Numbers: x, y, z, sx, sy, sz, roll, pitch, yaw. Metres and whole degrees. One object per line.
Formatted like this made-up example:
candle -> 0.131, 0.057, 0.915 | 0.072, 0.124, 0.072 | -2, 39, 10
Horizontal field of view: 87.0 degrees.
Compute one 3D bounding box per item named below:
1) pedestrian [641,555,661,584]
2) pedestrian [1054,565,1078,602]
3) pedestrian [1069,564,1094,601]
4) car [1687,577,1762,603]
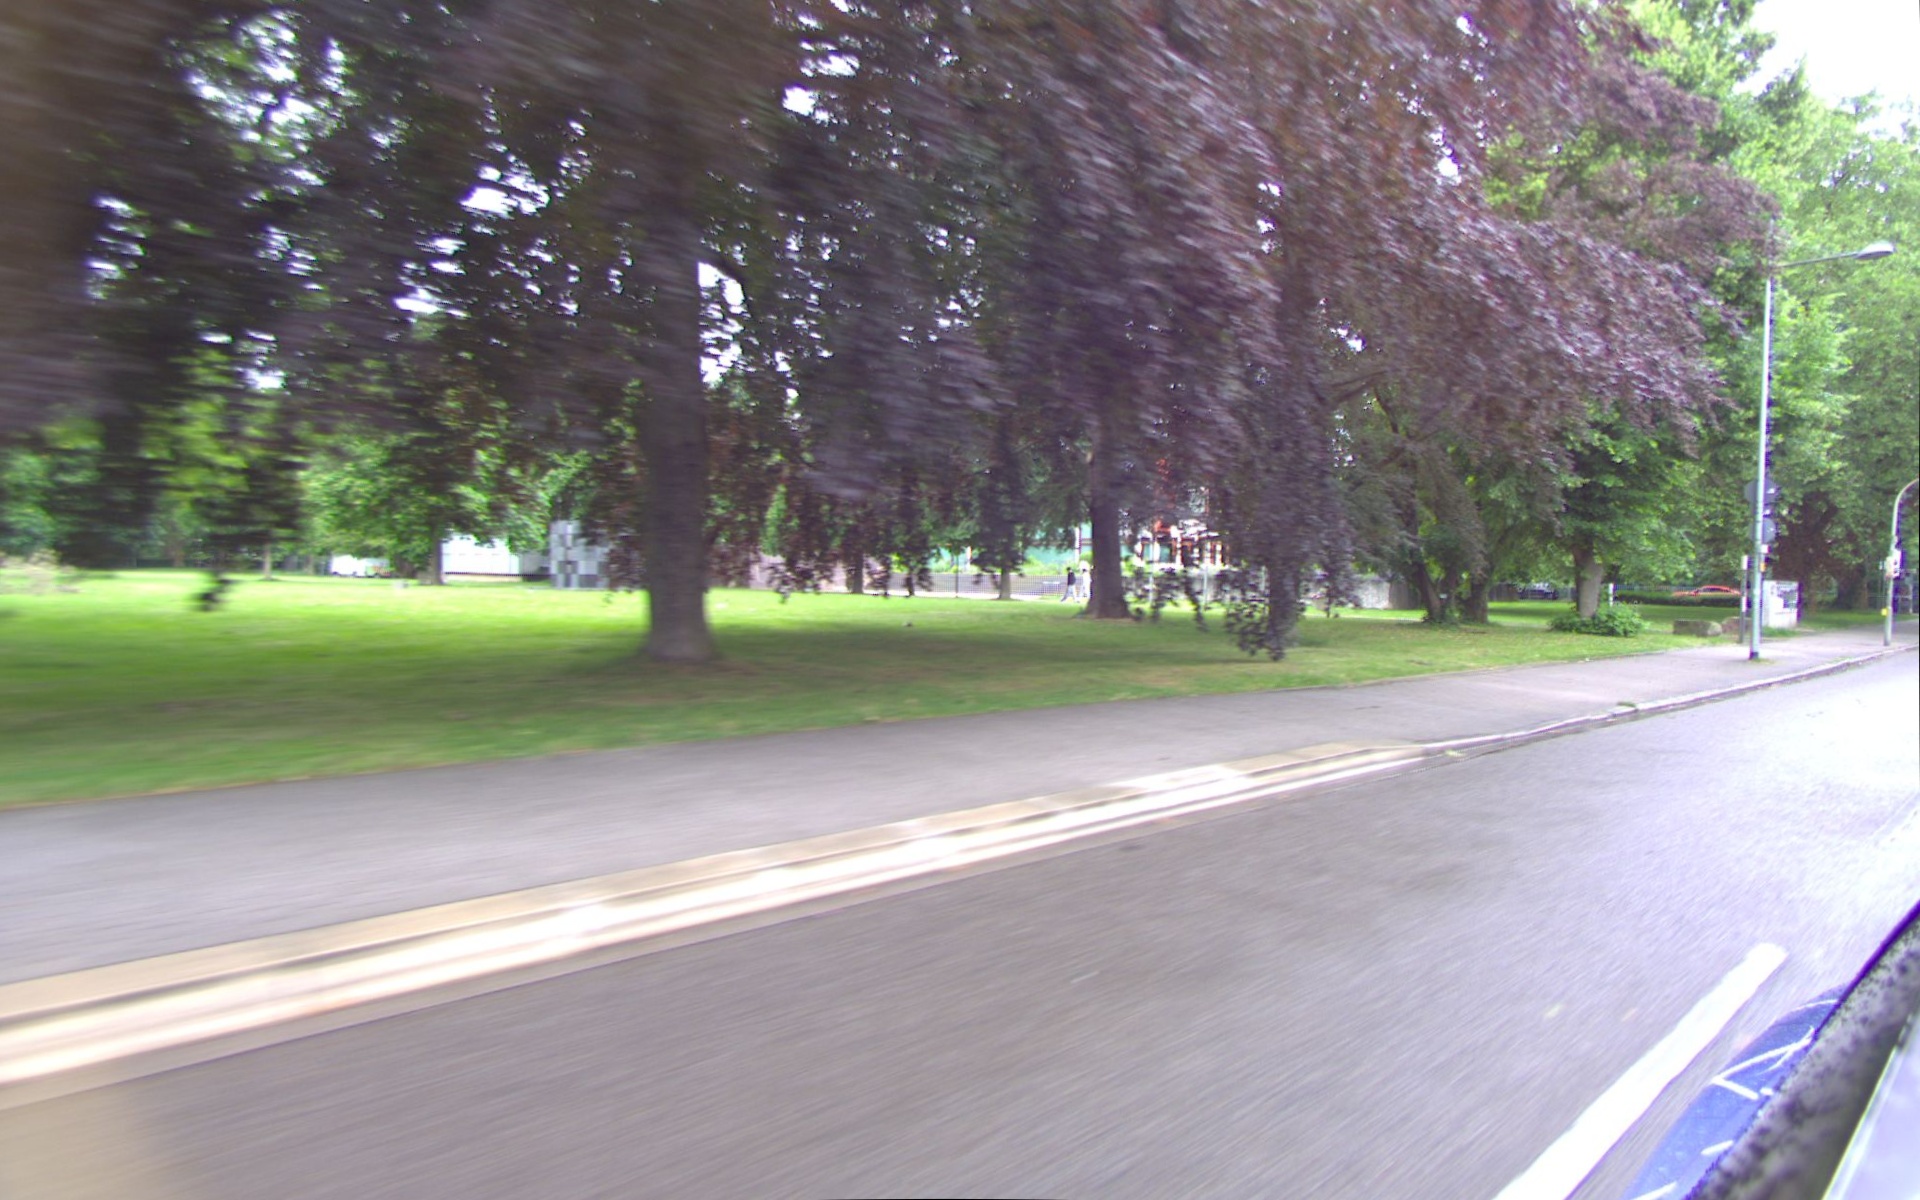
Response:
pedestrian -> -18.914, -1.865, 61.938 | 0.767, 1.785, 0.829 | -2, -1, 37
pedestrian -> 5.127, -0.792, 49.066 | 0.838, 1.785, 0.760 | -2, -1, 44
pedestrian -> 5.965, -0.847, 49.596 | 0.838, 1.785, 0.865 | -2, -1, 44
car -> 55.137, -0.763, 73.054 | 1.966, 1.737, 3.993 | 0, 2, -43
